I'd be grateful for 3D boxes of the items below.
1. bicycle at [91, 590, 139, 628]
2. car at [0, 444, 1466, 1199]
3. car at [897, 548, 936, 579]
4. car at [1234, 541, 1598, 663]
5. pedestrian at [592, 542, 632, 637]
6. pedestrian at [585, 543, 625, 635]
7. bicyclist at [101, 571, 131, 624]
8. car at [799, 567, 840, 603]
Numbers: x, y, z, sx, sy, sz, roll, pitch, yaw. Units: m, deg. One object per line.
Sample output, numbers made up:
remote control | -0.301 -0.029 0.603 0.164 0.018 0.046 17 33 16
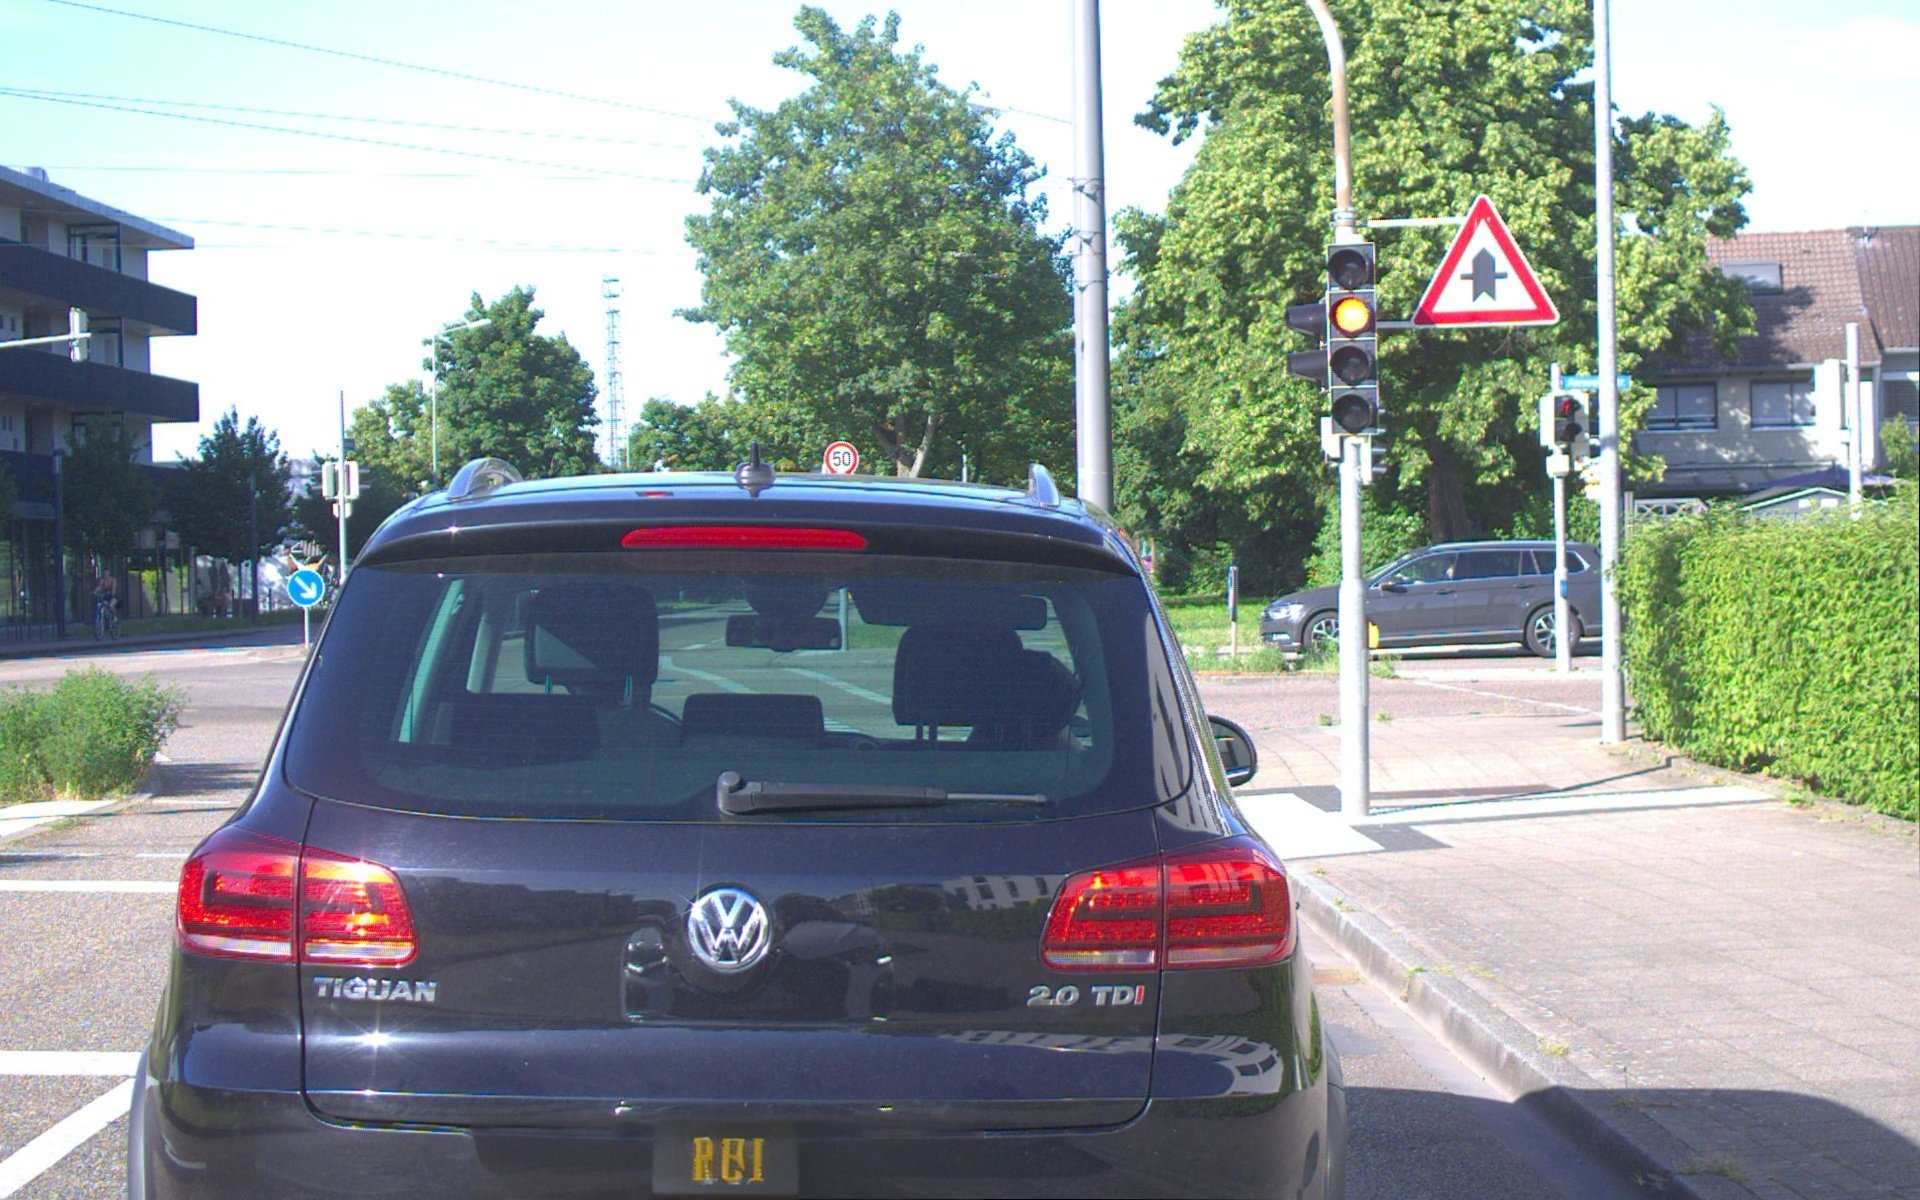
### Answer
bicycle | -19.467 0.203 79.241 0.496 0.845 2.078 0 1 3
car | -0.363 0.587 6.458 1.905 1.637 4.000 0 1 -2
car | -2.025 -1.714 159.415 1.751 1.382 4.000 0 1 -2
car | 5.782 0.003 44.072 4.498 1.499 2.000 0 1 4
pedestrian | -6.048 -0.184 59.773 0.603 1.634 0.529 0 1 4
pedestrian | -6.103 -0.194 59.159 0.603 1.559 0.529 0 1 4
bicyclist | -19.456 -0.061 79.234 0.474 1.219 0.712 0 1 3
car | -6.466 -0.701 158.592 1.656 1.634 4.000 0 1 1
